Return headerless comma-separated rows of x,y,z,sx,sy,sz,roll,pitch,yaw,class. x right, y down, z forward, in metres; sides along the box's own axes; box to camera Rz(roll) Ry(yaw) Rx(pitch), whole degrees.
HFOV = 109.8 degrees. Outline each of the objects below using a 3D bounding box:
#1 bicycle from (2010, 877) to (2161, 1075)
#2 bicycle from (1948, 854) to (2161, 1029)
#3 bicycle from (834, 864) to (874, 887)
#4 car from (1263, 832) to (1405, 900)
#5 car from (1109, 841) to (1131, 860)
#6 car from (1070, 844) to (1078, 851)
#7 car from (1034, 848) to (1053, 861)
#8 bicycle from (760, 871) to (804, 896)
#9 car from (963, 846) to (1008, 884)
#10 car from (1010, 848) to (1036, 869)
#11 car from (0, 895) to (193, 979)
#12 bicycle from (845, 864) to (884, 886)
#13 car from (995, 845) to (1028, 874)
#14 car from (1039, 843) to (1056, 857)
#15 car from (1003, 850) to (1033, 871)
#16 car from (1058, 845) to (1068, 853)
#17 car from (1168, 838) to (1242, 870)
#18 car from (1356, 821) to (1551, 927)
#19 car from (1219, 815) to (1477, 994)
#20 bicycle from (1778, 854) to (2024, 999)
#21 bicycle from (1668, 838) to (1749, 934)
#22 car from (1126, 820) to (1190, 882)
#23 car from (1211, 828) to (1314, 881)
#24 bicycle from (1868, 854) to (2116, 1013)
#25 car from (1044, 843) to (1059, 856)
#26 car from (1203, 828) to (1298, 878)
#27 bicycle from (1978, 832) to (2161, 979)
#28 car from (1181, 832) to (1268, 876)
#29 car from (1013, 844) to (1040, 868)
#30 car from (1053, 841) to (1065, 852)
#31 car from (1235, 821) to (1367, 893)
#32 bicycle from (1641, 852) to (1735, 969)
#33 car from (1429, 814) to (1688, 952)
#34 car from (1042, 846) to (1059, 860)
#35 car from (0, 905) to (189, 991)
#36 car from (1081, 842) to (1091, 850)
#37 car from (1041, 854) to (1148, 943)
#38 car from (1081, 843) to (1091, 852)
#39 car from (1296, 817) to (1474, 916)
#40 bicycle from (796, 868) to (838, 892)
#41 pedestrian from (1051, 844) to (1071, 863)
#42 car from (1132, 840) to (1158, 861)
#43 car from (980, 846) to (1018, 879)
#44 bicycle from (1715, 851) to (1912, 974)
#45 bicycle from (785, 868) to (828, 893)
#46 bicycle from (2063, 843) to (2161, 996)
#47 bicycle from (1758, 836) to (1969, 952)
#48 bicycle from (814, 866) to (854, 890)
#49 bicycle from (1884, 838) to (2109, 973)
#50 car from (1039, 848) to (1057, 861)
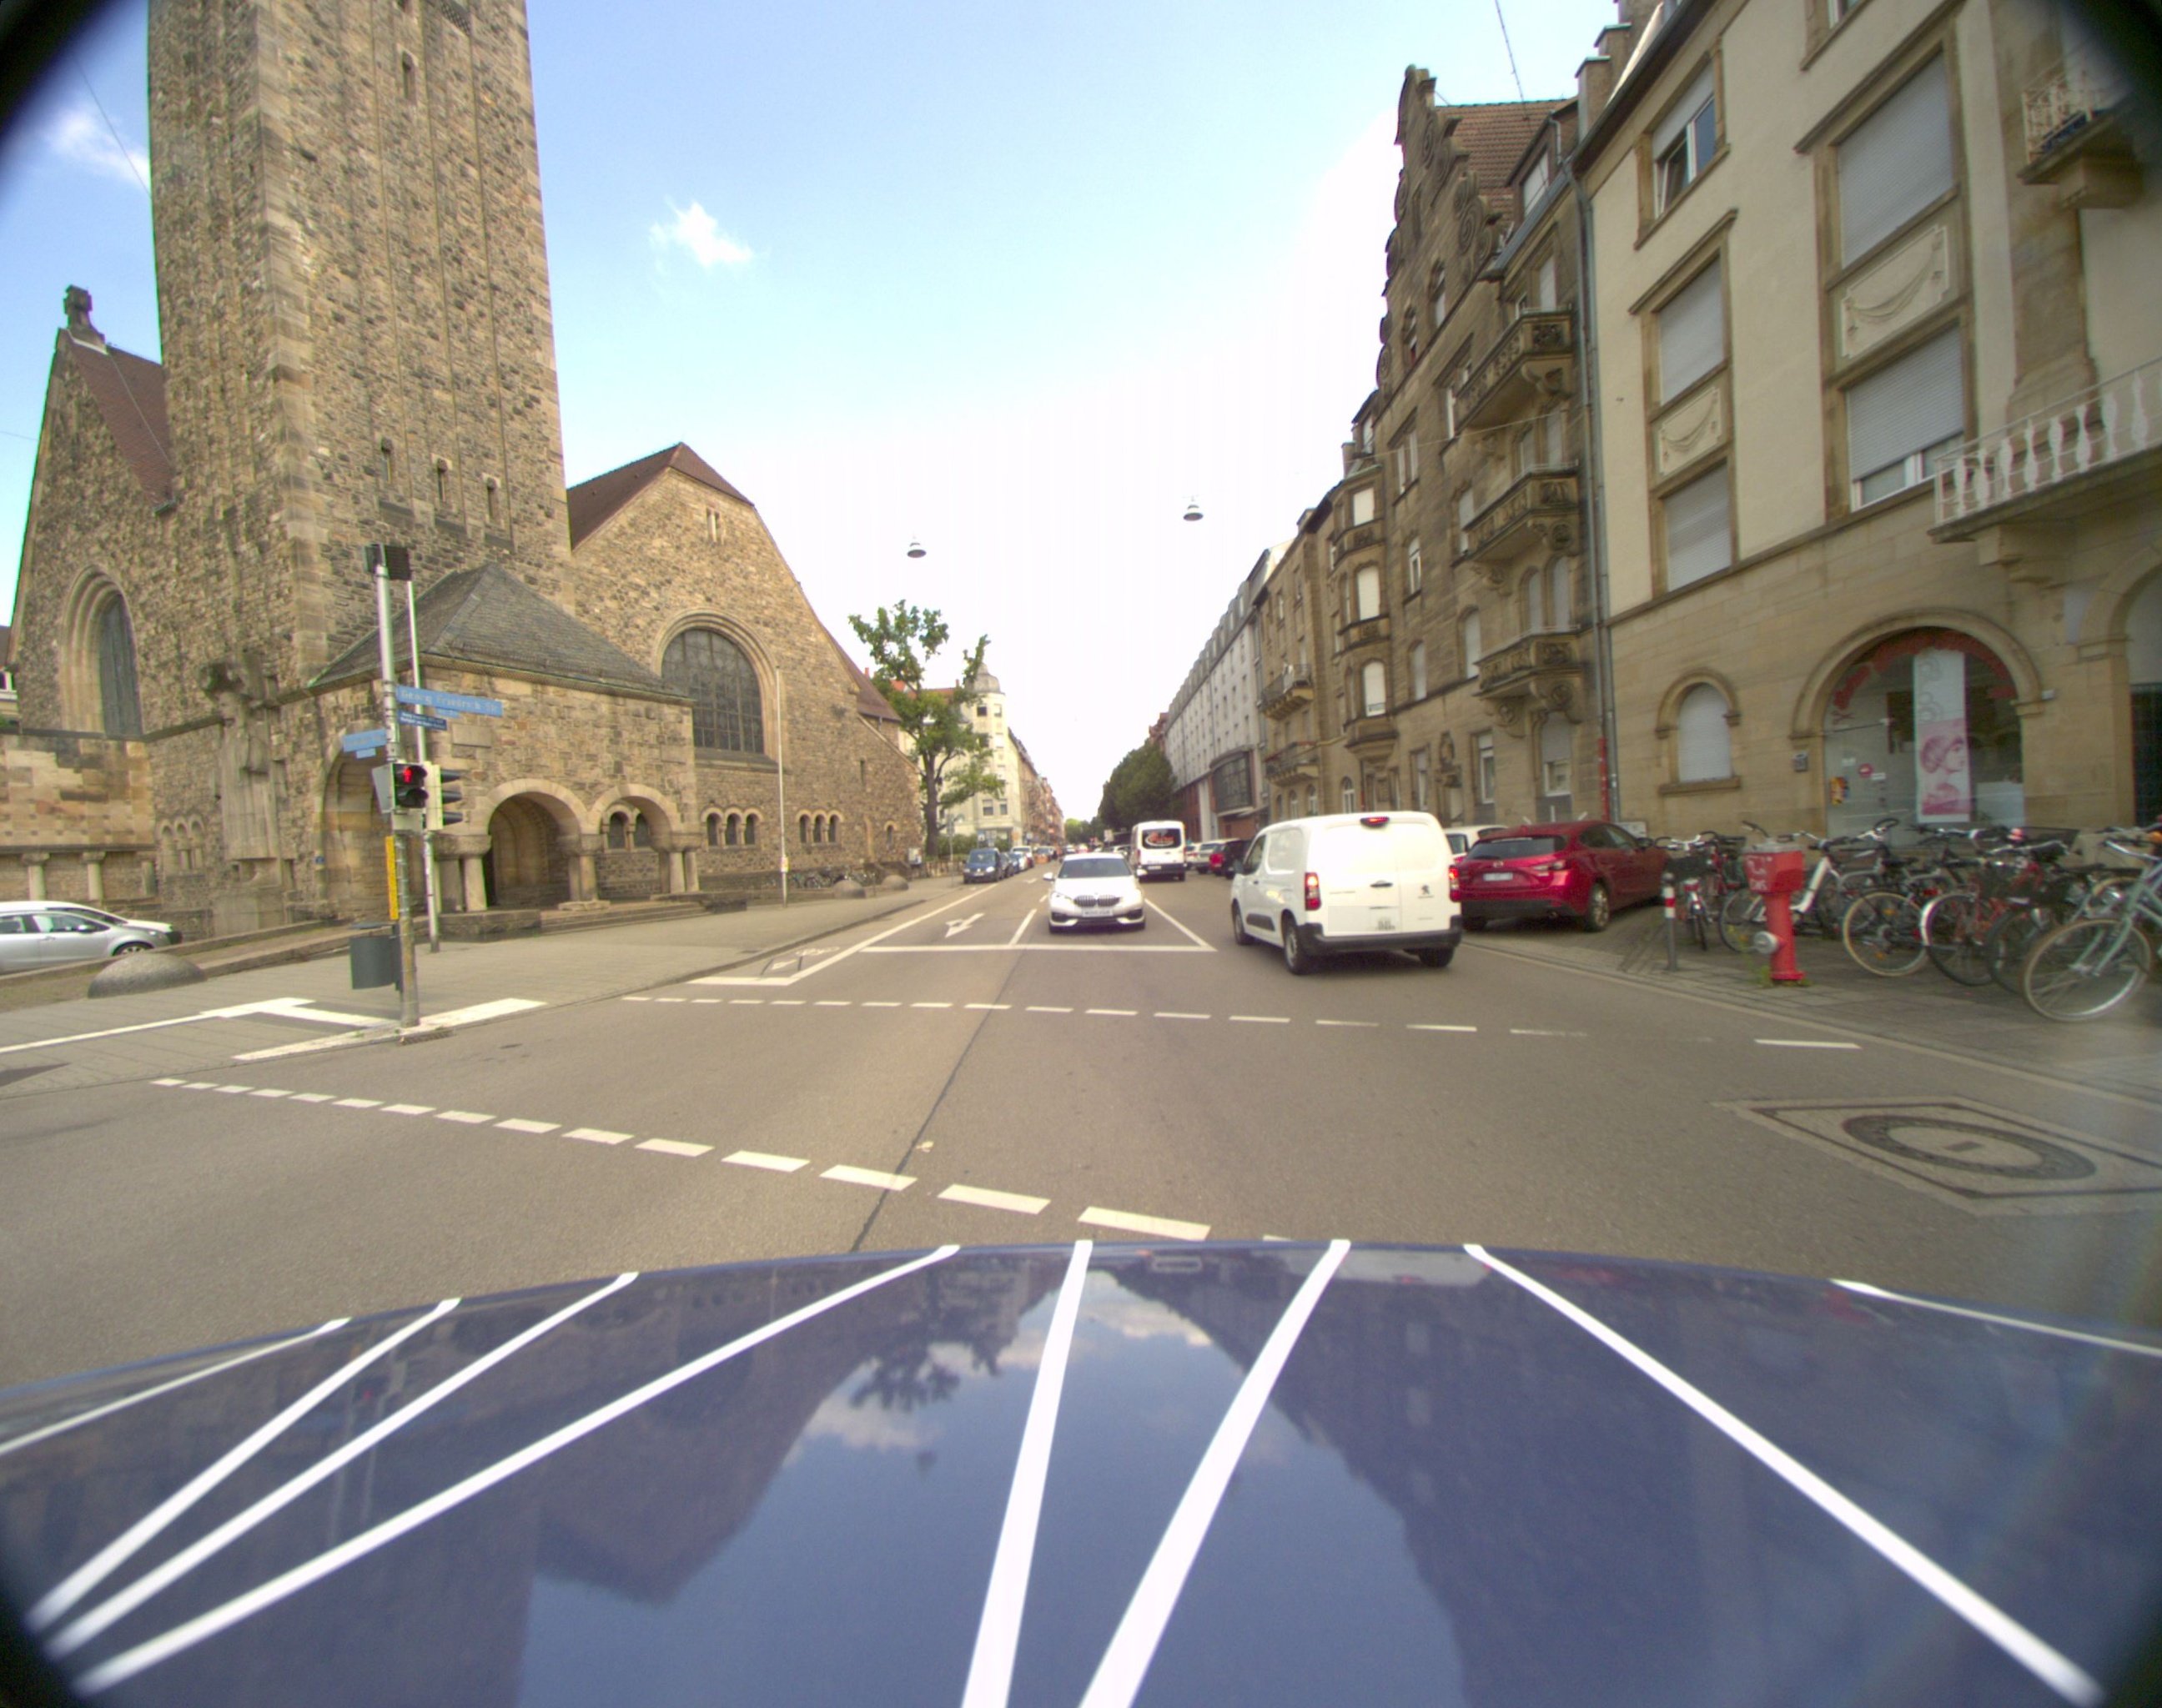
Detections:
6.696,0.653,4.330,1.733,1.046,0.531,-5,1,17,bicycle
7.180,0.581,5.257,1.580,1.046,0.481,-6,1,8,bicycle
-11.605,1.107,38.823,1.935,1.106,0.587,0,3,21,bicycle
7.152,0.320,21.341,3.960,1.421,1.727,-6,0,-37,car
3.628,-0.373,71.401,1.891,1.642,3.890,-4,1,1,car
-1.736,-1.584,186.993,1.809,1.654,4.186,-4,1,2,car
-4.159,0.050,84.758,1.809,1.360,4.186,-4,1,2,car
-13.523,1.323,34.372,1.935,1.106,0.587,0,3,21,bicycle
-5.022,0.533,40.477,1.683,1.781,4.145,-4,1,2,car
-4.713,0.346,62.004,1.683,1.488,3.890,-4,1,2,car
-26.953,2.197,19.926,1.996,1.842,4.312,-5,-1,25,car
-11.260,1.069,39.550,1.935,1.106,0.587,0,3,21,bicycle
-4.743,0.345,51.980,1.683,1.781,4.000,-4,1,2,car
-4.395,-0.541,98.942,1.809,1.756,4.186,-4,1,2,car
-4.676,0.467,56.738,1.683,1.439,3.798,-4,1,2,car
-3.935,-1.135,165.533,1.809,1.756,4.186,-4,1,2,car
6.841,-0.021,41.724,3.961,1.465,1.727,-4,1,-39,car
7.054,0.326,14.222,3.960,1.448,1.727,-7,0,-40,car
3.158,0.533,10.023,1.817,1.765,4.283,-3,0,0,car
6.889,0.593,6.418,1.483,1.046,0.462,-6,1,1,bicycle
8.309,0.396,10.032,1.907,1.046,0.556,-6,1,-44,bicycle
3.250,-0.091,33.332,2.081,2.430,5.945,-2,0,0,car
7.177,0.008,29.887,3.959,1.576,1.727,-8,2,-39,car
7.049,0.594,5.904,1.372,1.046,0.418,-6,1,-1,bicycle
-4.328,-0.676,112.545,1.809,1.756,4.186,-4,1,2,car
7.330,-0.057,32.700,3.959,1.576,1.727,-9,2,-39,car
8.518,0.407,6.309,1.483,1.046,0.462,-6,1,2,bicycle
6.810,-0.029,35.943,3.960,1.576,1.727,-7,1,-39,car
-4.755,0.102,66.670,1.844,1.927,4.186,-4,1,2,car
-4.079,-1.343,141.590,1.809,1.902,4.186,-4,1,2,car
7.015,0.072,24.095,3.959,1.857,1.727,-6,1,-33,car
6.795,0.582,8.472,0.556,1.046,1.815,-5,1,45,bicycle
7.071,0.340,11.106,4.005,1.448,1.808,-7,1,-37,car
-3.771,-0.142,94.751,1.809,1.675,4.186,-4,1,2,car
-24.109,2.211,17.833,1.815,1.668,3.643,-5,-1,22,car
1.060,-1.693,159.255,1.809,1.590,4.186,-4,1,2,car
0.302,0.785,15.515,1.826,1.440,4.386,-2,1,2,car
0.924,-1.319,151.628,1.809,1.590,4.186,-4,1,2,car
6.813,0.240,16.848,3.960,1.680,1.799,-7,0,-39,car
-12.671,1.224,36.502,1.935,1.106,0.587,0,3,21,bicycle
-1.921,-0.056,72.949,1.316,1.748,1.370,-4,1,-37,pedestrian
5.351,-0.298,63.975,1.891,1.556,3.890,-4,1,1,car
-4.868,0.480,45.634,1.683,1.781,4.000,-4,1,2,car
7.220,0.561,7.516,1.483,1.046,0.462,-5,1,-2,bicycle
-12.953,1.255,35.843,1.935,1.106,0.587,0,3,21,bicycle
8.486,0.424,5.612,1.580,1.046,0.481,-6,1,8,bicycle
8.357,0.410,8.150,1.631,1.046,0.558,-6,1,-1,bicycle
-12.149,1.172,37.363,1.935,1.106,0.587,0,3,21,bicycle
8.327,0.449,6.935,1.483,1.046,0.462,-6,1,-2,bicycle
-3.927,-0.002,90.338,1.809,1.360,4.186,-4,1,2,car
